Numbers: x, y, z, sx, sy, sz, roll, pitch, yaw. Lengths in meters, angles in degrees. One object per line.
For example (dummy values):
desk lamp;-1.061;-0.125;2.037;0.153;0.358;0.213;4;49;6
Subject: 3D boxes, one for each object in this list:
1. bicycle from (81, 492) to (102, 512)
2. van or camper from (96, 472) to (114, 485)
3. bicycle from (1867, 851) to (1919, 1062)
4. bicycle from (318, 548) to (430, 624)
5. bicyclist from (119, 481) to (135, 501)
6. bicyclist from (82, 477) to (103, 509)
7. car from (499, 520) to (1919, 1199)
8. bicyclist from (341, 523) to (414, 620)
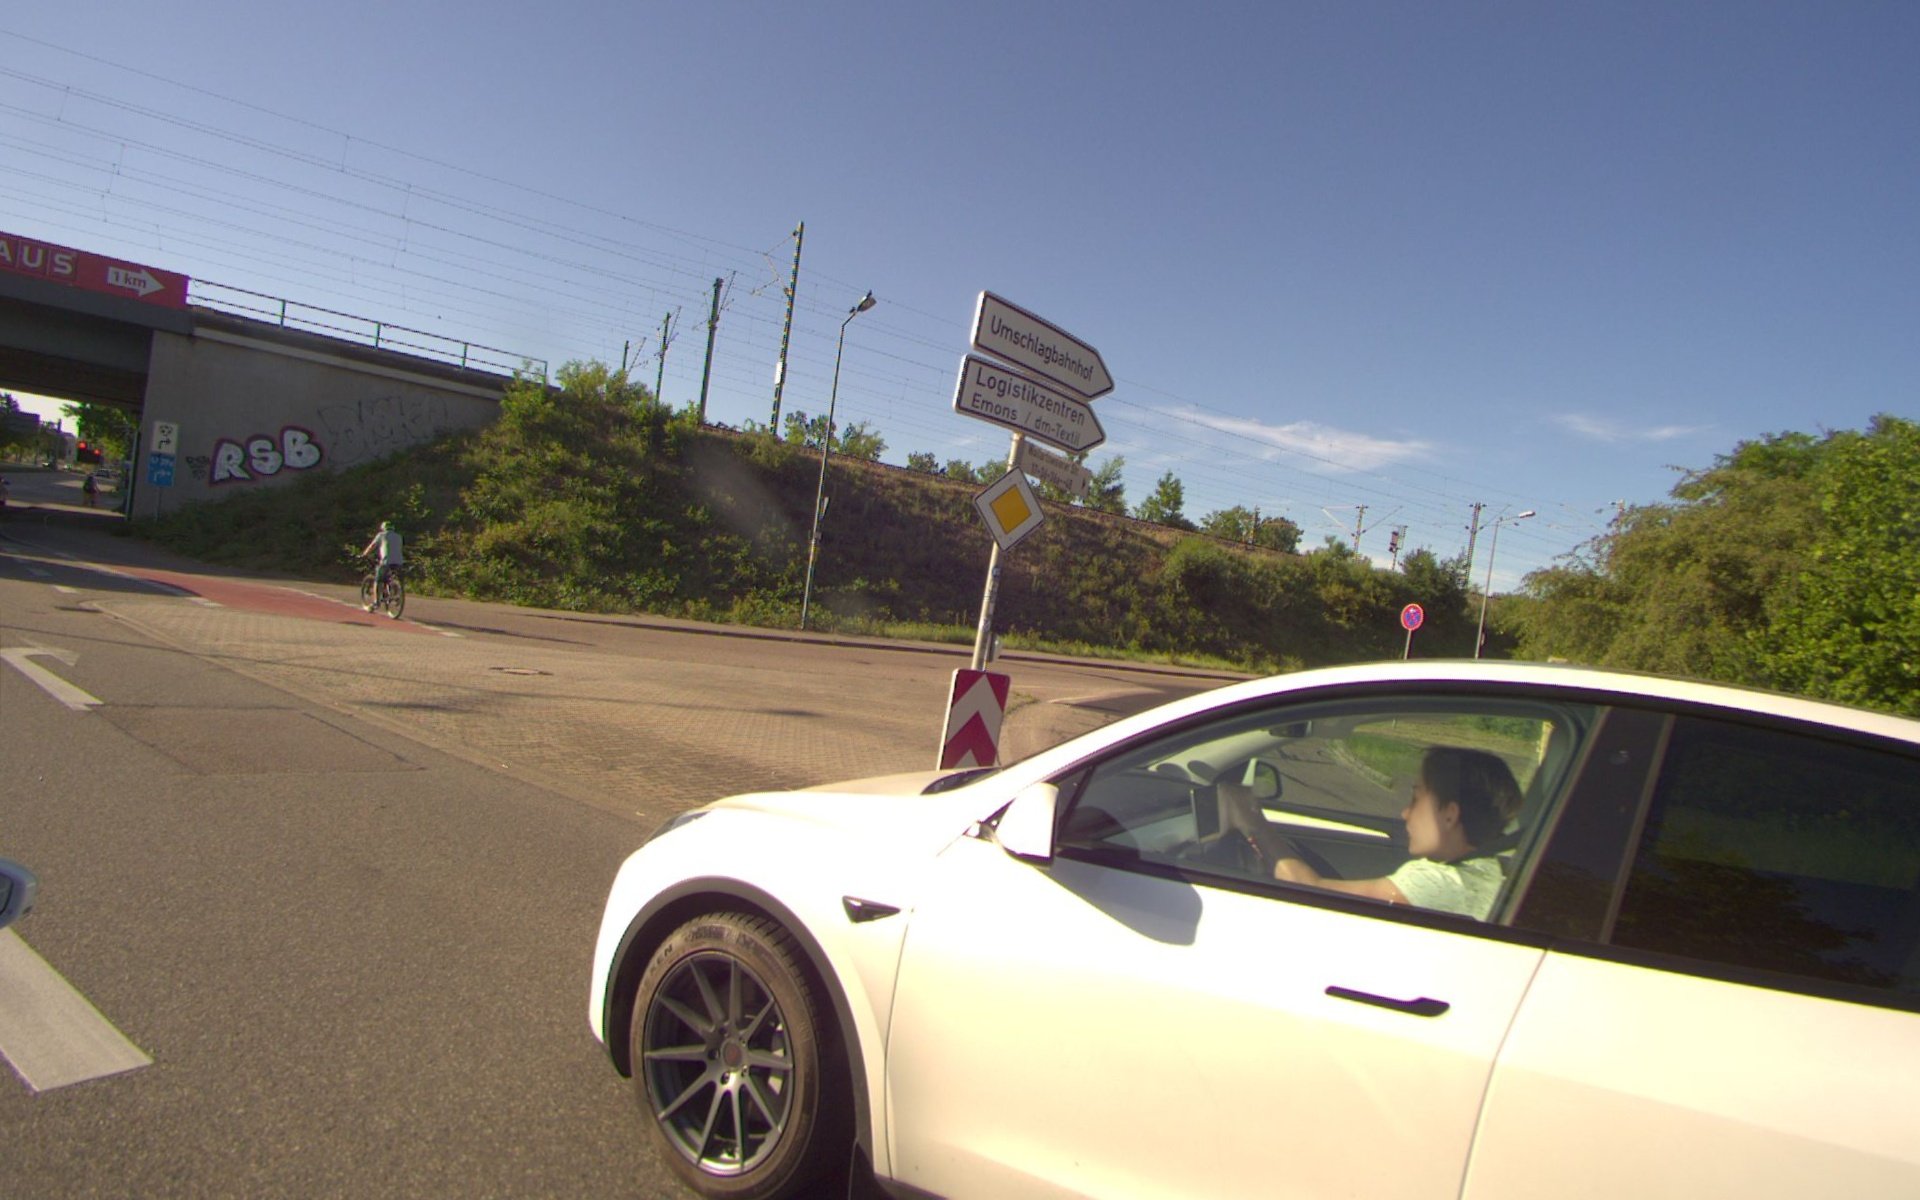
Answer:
bicycle;-45.549;-5.146;52.789;0.768;0.905;1.973;5;2;-41
van or camper;-151.589;-21.524;178.427;1.772;1.888;3.873;5;2;-33
bicycle;6.676;2.263;5.689;2.081;1.109;0.696;7;2;29
bicycle;-10.680;-0.265;18.291;2.412;1.127;0.743;7;2;34
bicyclist;-74.886;-9.806;90.443;0.916;1.605;0.762;5;2;-35
bicyclist;-45.476;-5.604;52.737;0.747;1.605;0.915;4;3;-40
car;1.094;0.901;2.611;4.336;1.660;1.917;7;-1;31
bicyclist;-10.567;-0.515;18.250;0.898;1.640;0.745;7;2;34
